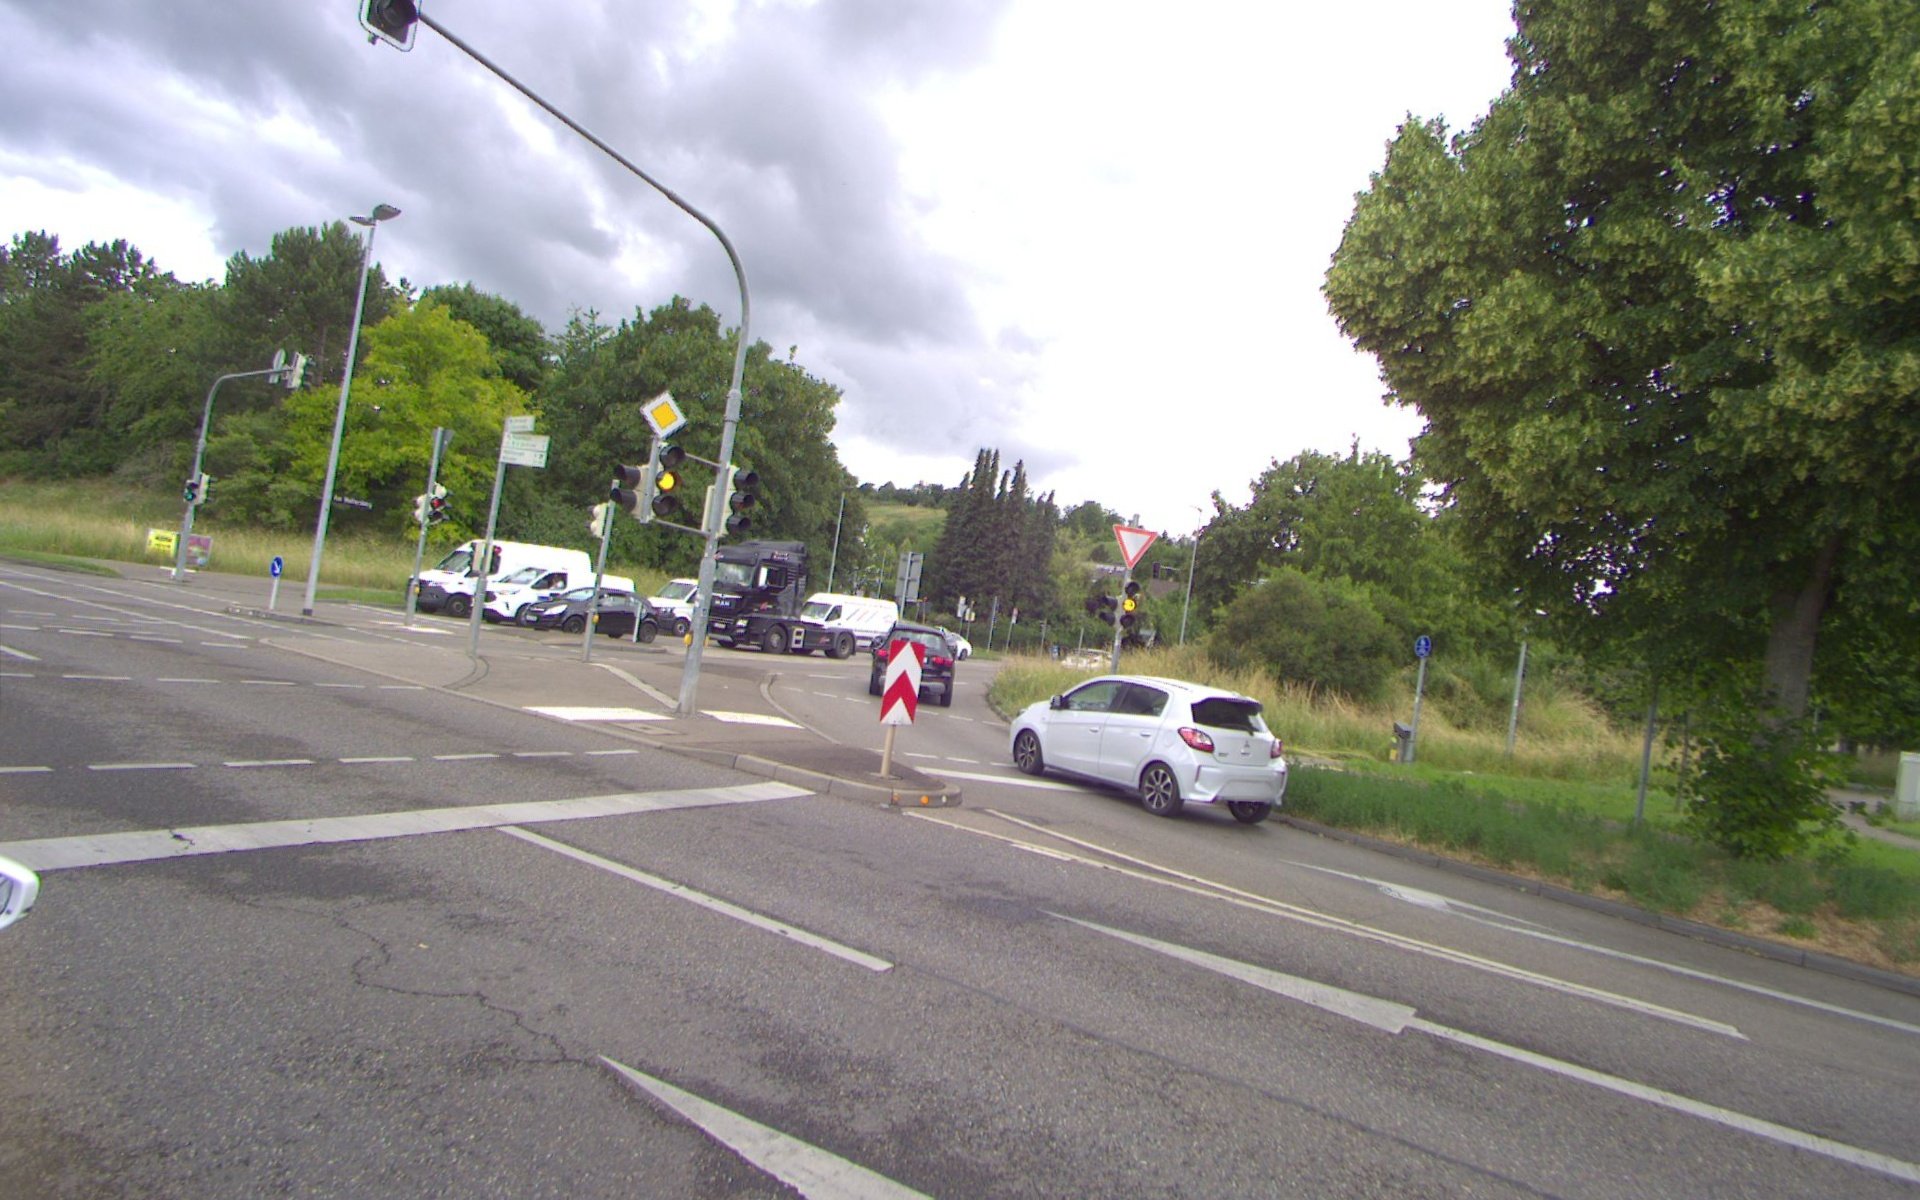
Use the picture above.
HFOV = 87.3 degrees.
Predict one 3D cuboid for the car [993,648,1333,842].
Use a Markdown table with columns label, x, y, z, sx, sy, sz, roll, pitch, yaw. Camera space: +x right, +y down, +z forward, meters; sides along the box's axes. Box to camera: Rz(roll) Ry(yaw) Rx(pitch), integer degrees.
| label | x | y | z | sx | sy | sz | roll | pitch | yaw |
| --- | --- | --- | --- | --- | --- | --- | --- | --- | --- |
| car | 2.297 | 1.664 | 12.319 | 1.772 | 1.458 | 3.801 | 13 | -2 | -32 |

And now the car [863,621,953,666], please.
| label | x | y | z | sx | sy | sz | roll | pitch | yaw |
| --- | --- | --- | --- | --- | --- | --- | --- | --- | --- |
| car | -2.107 | 1.827 | 41.992 | 1.703 | 1.453 | 3.927 | 7 | -1 | 31 |

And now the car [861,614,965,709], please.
| label | x | y | z | sx | sy | sz | roll | pitch | yaw |
| --- | --- | --- | --- | --- | --- | --- | --- | --- | --- |
| car | -1.195 | 1.325 | 23.263 | 1.758 | 1.667 | 4.421 | 11 | -2 | -8 |

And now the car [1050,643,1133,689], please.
| label | x | y | z | sx | sy | sz | roll | pitch | yaw |
| --- | --- | --- | --- | --- | --- | --- | --- | --- | --- |
| car | 5.782 | 2.902 | 43.842 | 1.757 | 1.553 | 4.297 | 8 | -1 | 33 |

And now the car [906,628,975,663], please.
| label | x | y | z | sx | sy | sz | roll | pitch | yaw |
| --- | --- | --- | --- | --- | --- | --- | --- | --- | --- |
| car | -1.008 | 2.492 | 54.896 | 1.704 | 1.453 | 3.925 | 7 | -1 | 33 |

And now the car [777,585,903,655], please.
| label | x | y | z | sx | sy | sz | roll | pitch | yaw |
| --- | --- | --- | --- | --- | --- | --- | --- | --- | --- |
| car | -5.665 | 1.053 | 48.622 | 2.160 | 2.640 | 6.509 | 7 | -1 | 32 |

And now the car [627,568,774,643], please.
| label | x | y | z | sx | sy | sz | roll | pitch | yaw |
| --- | --- | --- | --- | --- | --- | --- | --- | --- | --- |
| car | -10.425 | 0.290 | 40.908 | 2.100 | 2.316 | 5.709 | 7 | -1 | 32 |

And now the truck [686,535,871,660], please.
| label | x | y | z | sx | sy | sz | roll | pitch | yaw |
| --- | --- | --- | --- | --- | --- | --- | --- | --- | --- |
| truck | -6.210 | 0.025 | 35.343 | 2.682 | 3.580 | 6.061 | 7 | -1 | 32 |

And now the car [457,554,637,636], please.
| label | x | y | z | sx | sy | sz | roll | pitch | yaw |
| --- | --- | --- | --- | --- | --- | --- | --- | --- | --- |
| car | -12.932 | -0.095 | 31.819 | 1.999 | 1.918 | 4.862 | 7 | -1 | 31 |

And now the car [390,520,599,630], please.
| label | x | y | z | sx | sy | sz | roll | pitch | yaw |
| --- | --- | --- | --- | --- | --- | --- | --- | --- | --- |
| car | -15.335 | -0.736 | 33.600 | 2.100 | 2.814 | 5.903 | 7 | -1 | 32 |

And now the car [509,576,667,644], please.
| label | x | y | z | sx | sy | sz | roll | pitch | yaw |
| --- | --- | --- | --- | --- | --- | --- | --- | --- | --- |
| car | -10.605 | 0.336 | 28.932 | 1.703 | 1.453 | 3.927 | 7 | -1 | 31 |
